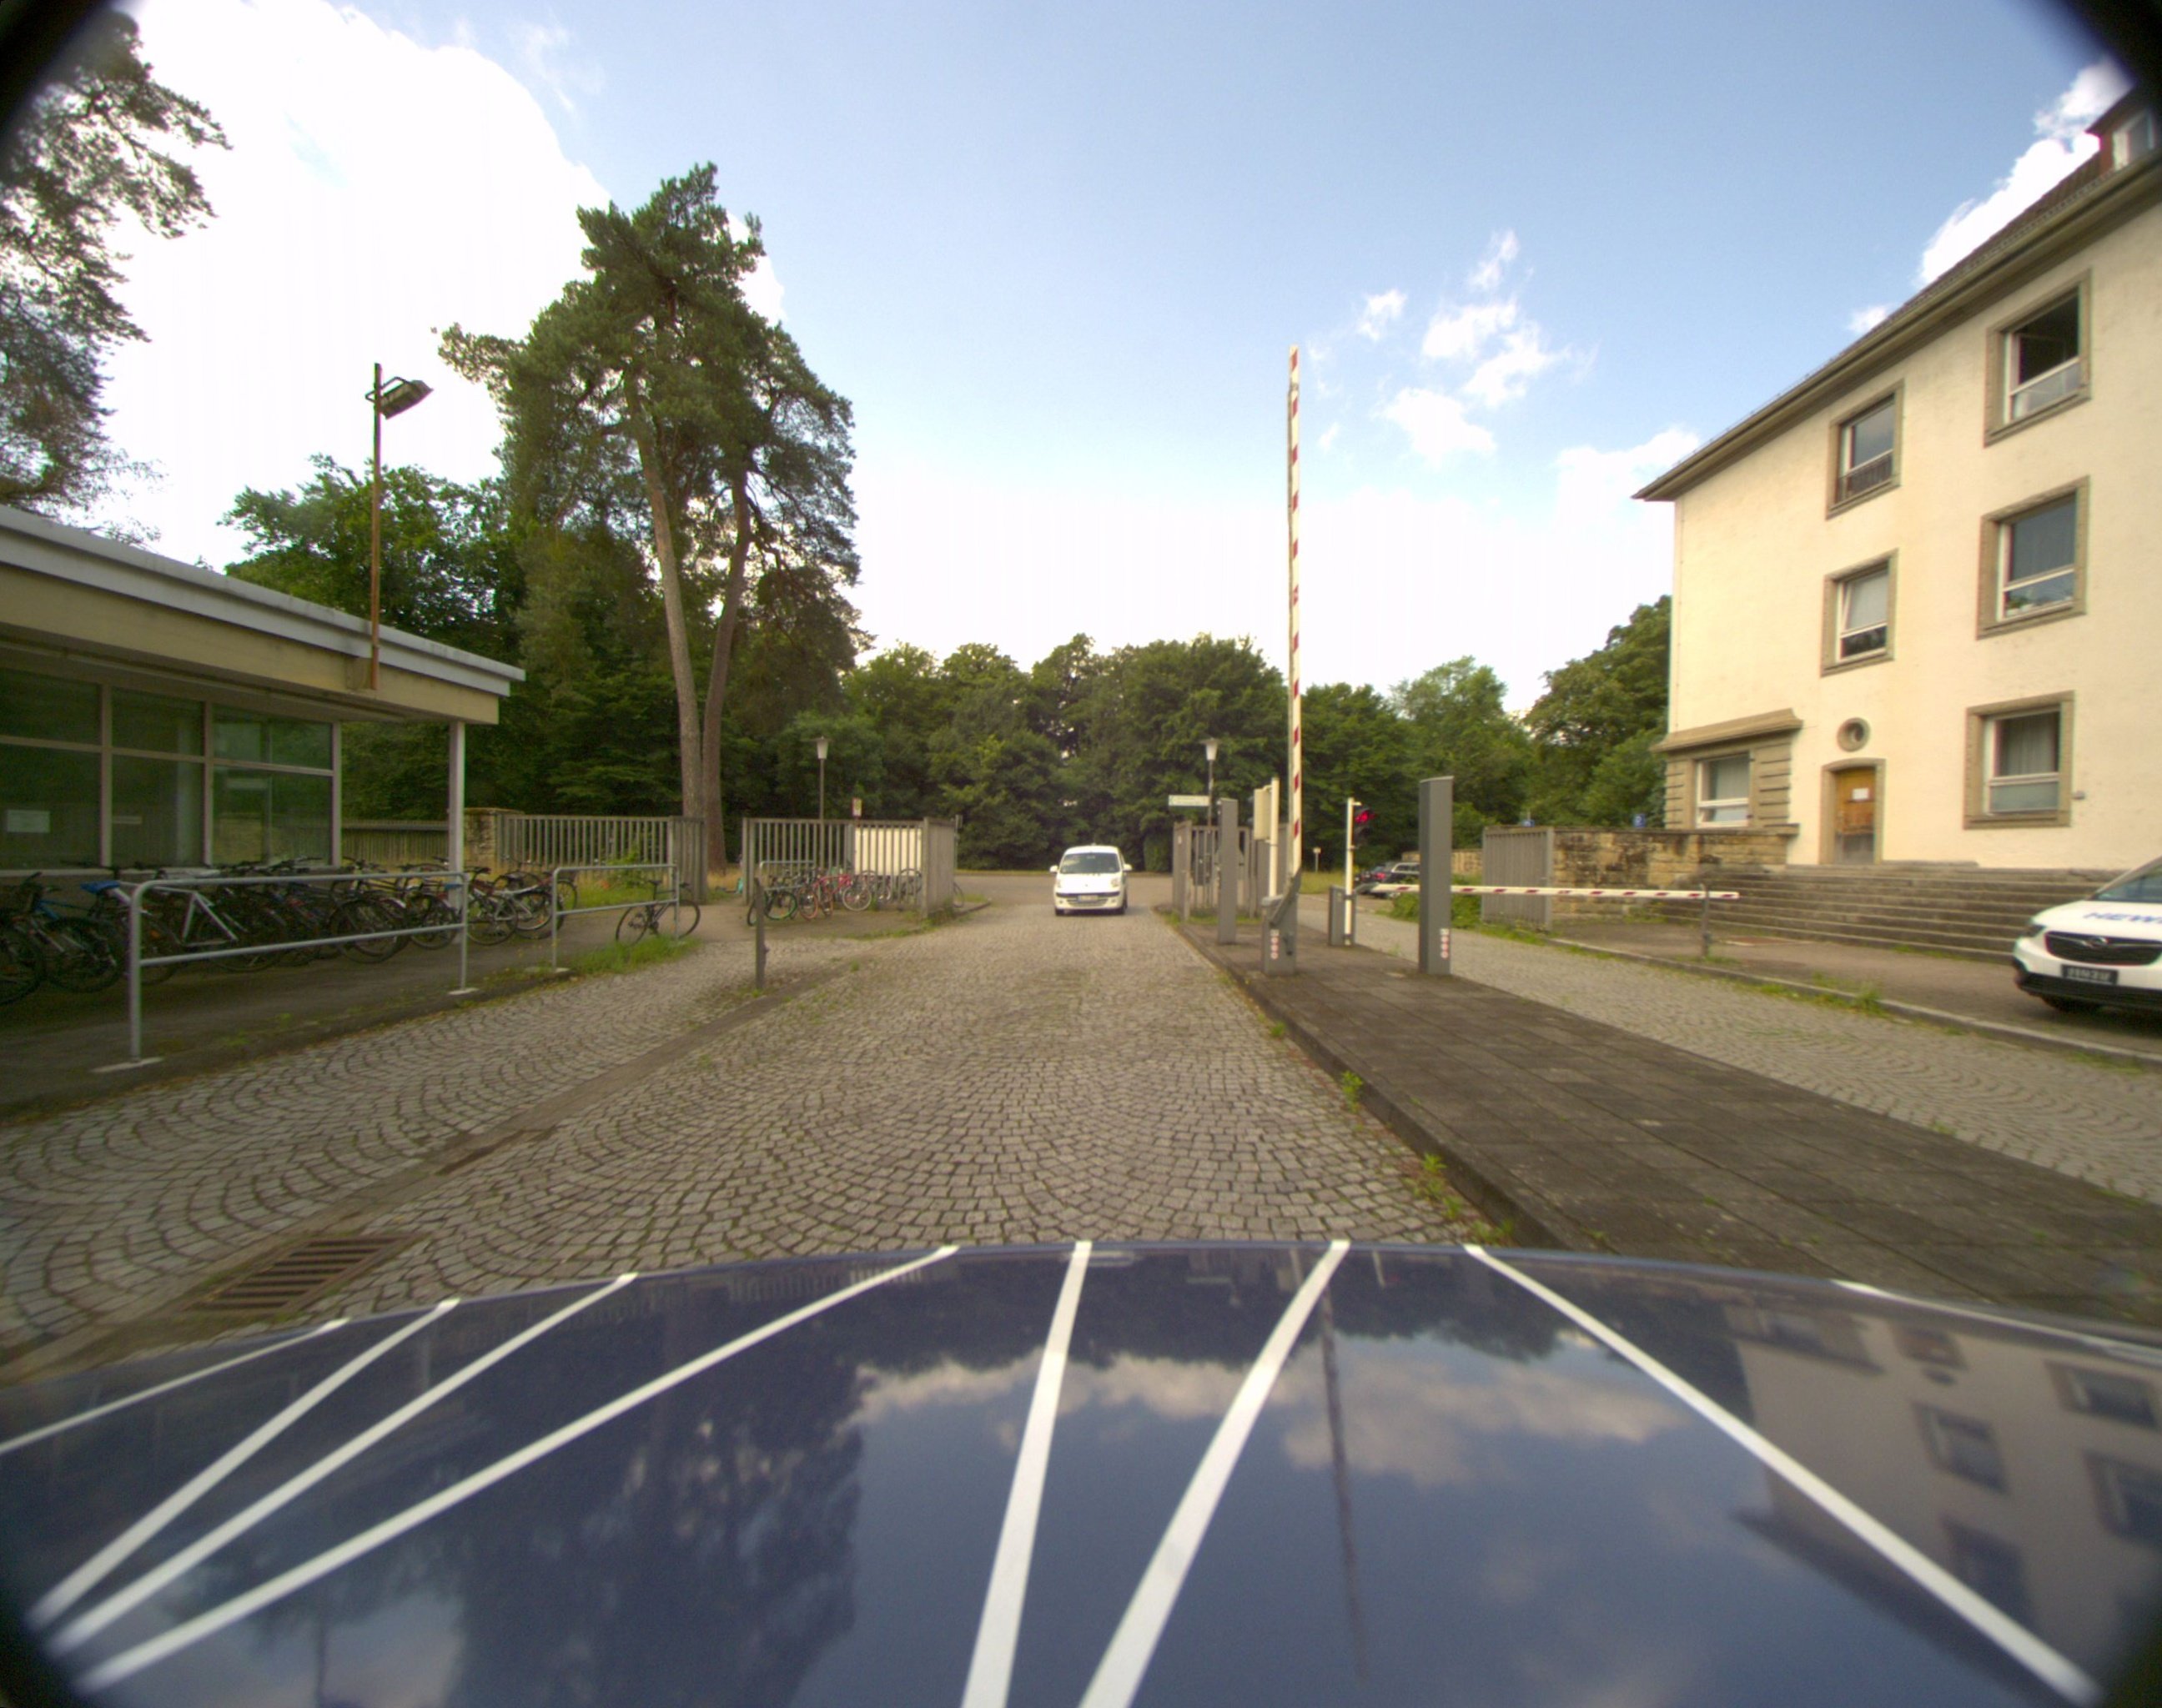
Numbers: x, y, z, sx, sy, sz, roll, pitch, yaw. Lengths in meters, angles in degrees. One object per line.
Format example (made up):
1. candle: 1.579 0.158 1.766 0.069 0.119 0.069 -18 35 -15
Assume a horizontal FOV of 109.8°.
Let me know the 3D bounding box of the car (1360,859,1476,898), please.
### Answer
1. car: 13.812 0.970 31.329 3.995 1.508 1.803 0 0 7

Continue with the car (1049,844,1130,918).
1. car: 0.326 0.645 20.396 1.866 1.749 4.150 -1 0 4

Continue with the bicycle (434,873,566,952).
1. bicycle: -8.003 0.785 10.519 1.408 1.040 0.338 0 1 -26

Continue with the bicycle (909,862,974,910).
1. bicycle: -3.780 0.866 20.685 1.655 1.223 0.748 2 1 -7

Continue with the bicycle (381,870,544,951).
1. bicycle: -8.666 0.761 10.721 1.754 1.040 0.453 0 1 -38

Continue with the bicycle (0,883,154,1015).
1. bicycle: -8.902 0.783 6.397 1.596 1.044 0.325 2 1 -7

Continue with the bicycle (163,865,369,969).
1. bicycle: -9.692 0.698 9.148 0.491 1.069 1.832 2 0 0

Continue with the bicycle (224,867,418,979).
1. bicycle: -8.265 0.750 8.297 1.618 1.134 0.325 2 1 -7

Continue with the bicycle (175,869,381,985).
1. bicycle: -8.325 0.755 7.912 1.618 1.134 0.325 2 1 -7

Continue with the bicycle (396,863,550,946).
1. bicycle: -8.950 0.711 11.238 1.744 1.125 0.473 0 1 -43

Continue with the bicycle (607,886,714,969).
1. bicycle: -5.778 0.978 10.550 0.535 0.947 1.655 1 1 1

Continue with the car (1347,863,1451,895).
1. car: 14.287 1.096 34.316 3.995 1.338 1.803 0 0 7

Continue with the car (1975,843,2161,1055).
1. car: 11.608 0.789 7.167 4.312 1.796 1.820 -2 1 -2

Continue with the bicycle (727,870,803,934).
1. bicycle: -5.723 0.842 13.855 0.692 1.056 1.565 1 1 1

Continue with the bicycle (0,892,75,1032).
1. bicycle: -8.948 0.812 5.818 1.636 1.044 0.334 2 1 -14

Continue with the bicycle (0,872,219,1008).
1. bicycle: -8.779 0.760 6.783 1.596 1.134 0.325 2 1 -7

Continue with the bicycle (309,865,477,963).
1. bicycle: -8.529 0.739 9.452 1.618 1.134 0.356 2 1 -7

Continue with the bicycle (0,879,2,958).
1. bicycle: -8.729 0.746 5.197 1.636 1.183 0.498 2 1 -12

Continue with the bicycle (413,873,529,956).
1. bicycle: -8.005 0.780 9.997 1.154 1.056 0.286 0 1 -20

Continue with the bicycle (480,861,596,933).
1. bicycle: -9.288 0.699 13.074 0.648 1.132 1.681 1 1 7

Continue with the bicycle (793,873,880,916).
1. bicycle: -5.764 0.946 17.949 1.868 0.934 0.503 2 1 -4

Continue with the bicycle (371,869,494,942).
1. bicycle: -9.713 0.746 11.434 0.404 1.004 1.359 2 1 24

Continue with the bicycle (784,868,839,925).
1. bicycle: -5.553 0.848 15.714 0.474 1.051 1.732 1 1 1

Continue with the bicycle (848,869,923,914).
1. bicycle: -4.825 0.916 18.787 1.730 1.027 0.387 2 1 2

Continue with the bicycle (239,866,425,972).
1. bicycle: -8.586 0.747 8.739 1.618 1.134 0.356 2 1 -7

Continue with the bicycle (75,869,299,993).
1. bicycle: -8.734 0.752 7.454 1.618 1.134 0.325 2 1 -7
